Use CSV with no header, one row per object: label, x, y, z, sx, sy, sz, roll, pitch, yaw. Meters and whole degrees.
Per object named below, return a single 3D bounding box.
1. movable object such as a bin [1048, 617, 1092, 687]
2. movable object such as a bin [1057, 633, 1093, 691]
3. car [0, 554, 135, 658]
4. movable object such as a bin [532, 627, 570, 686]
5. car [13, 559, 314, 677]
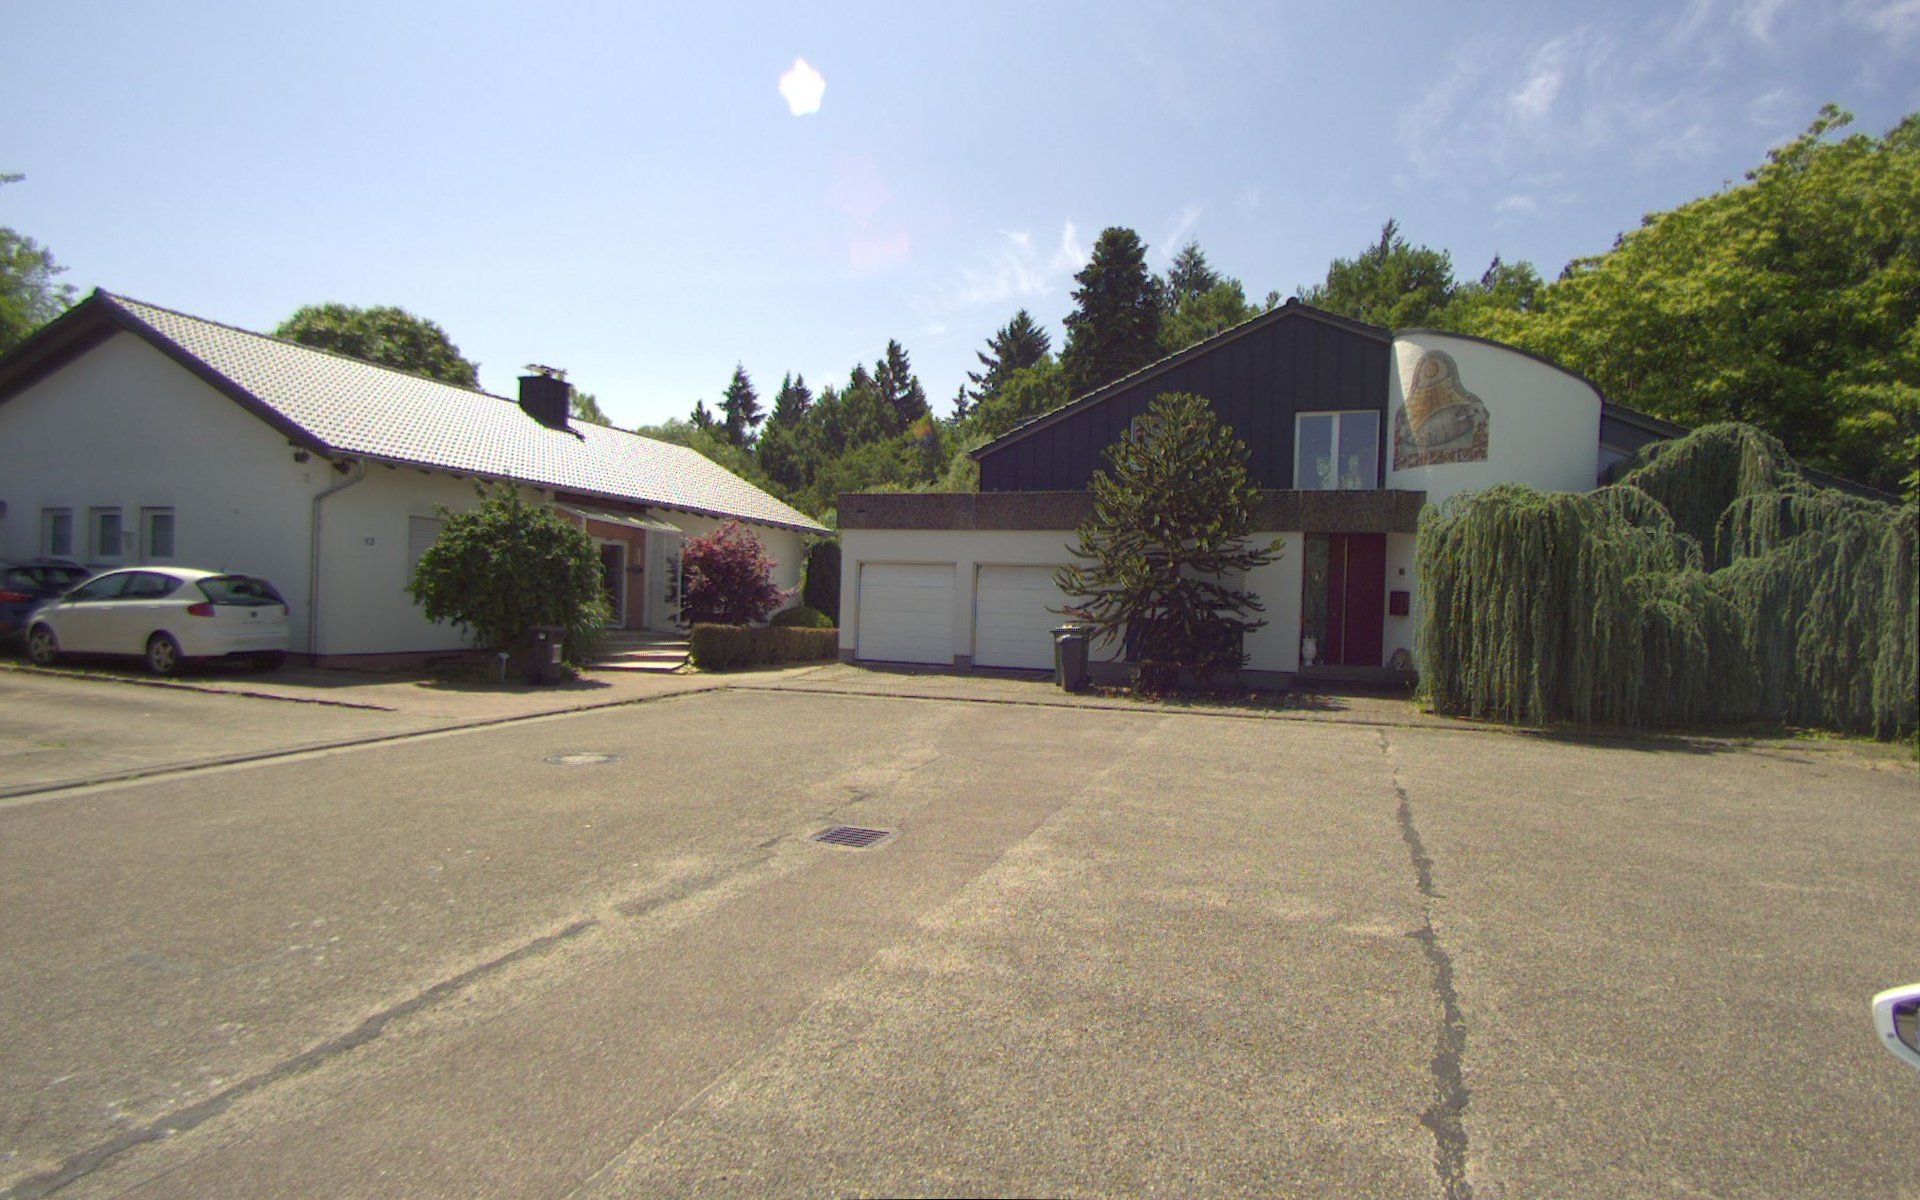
movable object such as a bin,1.984,0.923,18.094,0.621,1.219,0.551,2,0,20
movable object such as a bin,1.981,1.054,17.263,0.514,0.962,0.389,2,0,-6
car,-16.708,0.018,17.462,3.921,1.629,1.929,3,1,21
movable object such as a bin,-6.473,0.883,15.903,0.383,0.903,0.375,2,1,19
car,-12.445,0.246,15.743,3.920,1.589,1.753,2,0,17
